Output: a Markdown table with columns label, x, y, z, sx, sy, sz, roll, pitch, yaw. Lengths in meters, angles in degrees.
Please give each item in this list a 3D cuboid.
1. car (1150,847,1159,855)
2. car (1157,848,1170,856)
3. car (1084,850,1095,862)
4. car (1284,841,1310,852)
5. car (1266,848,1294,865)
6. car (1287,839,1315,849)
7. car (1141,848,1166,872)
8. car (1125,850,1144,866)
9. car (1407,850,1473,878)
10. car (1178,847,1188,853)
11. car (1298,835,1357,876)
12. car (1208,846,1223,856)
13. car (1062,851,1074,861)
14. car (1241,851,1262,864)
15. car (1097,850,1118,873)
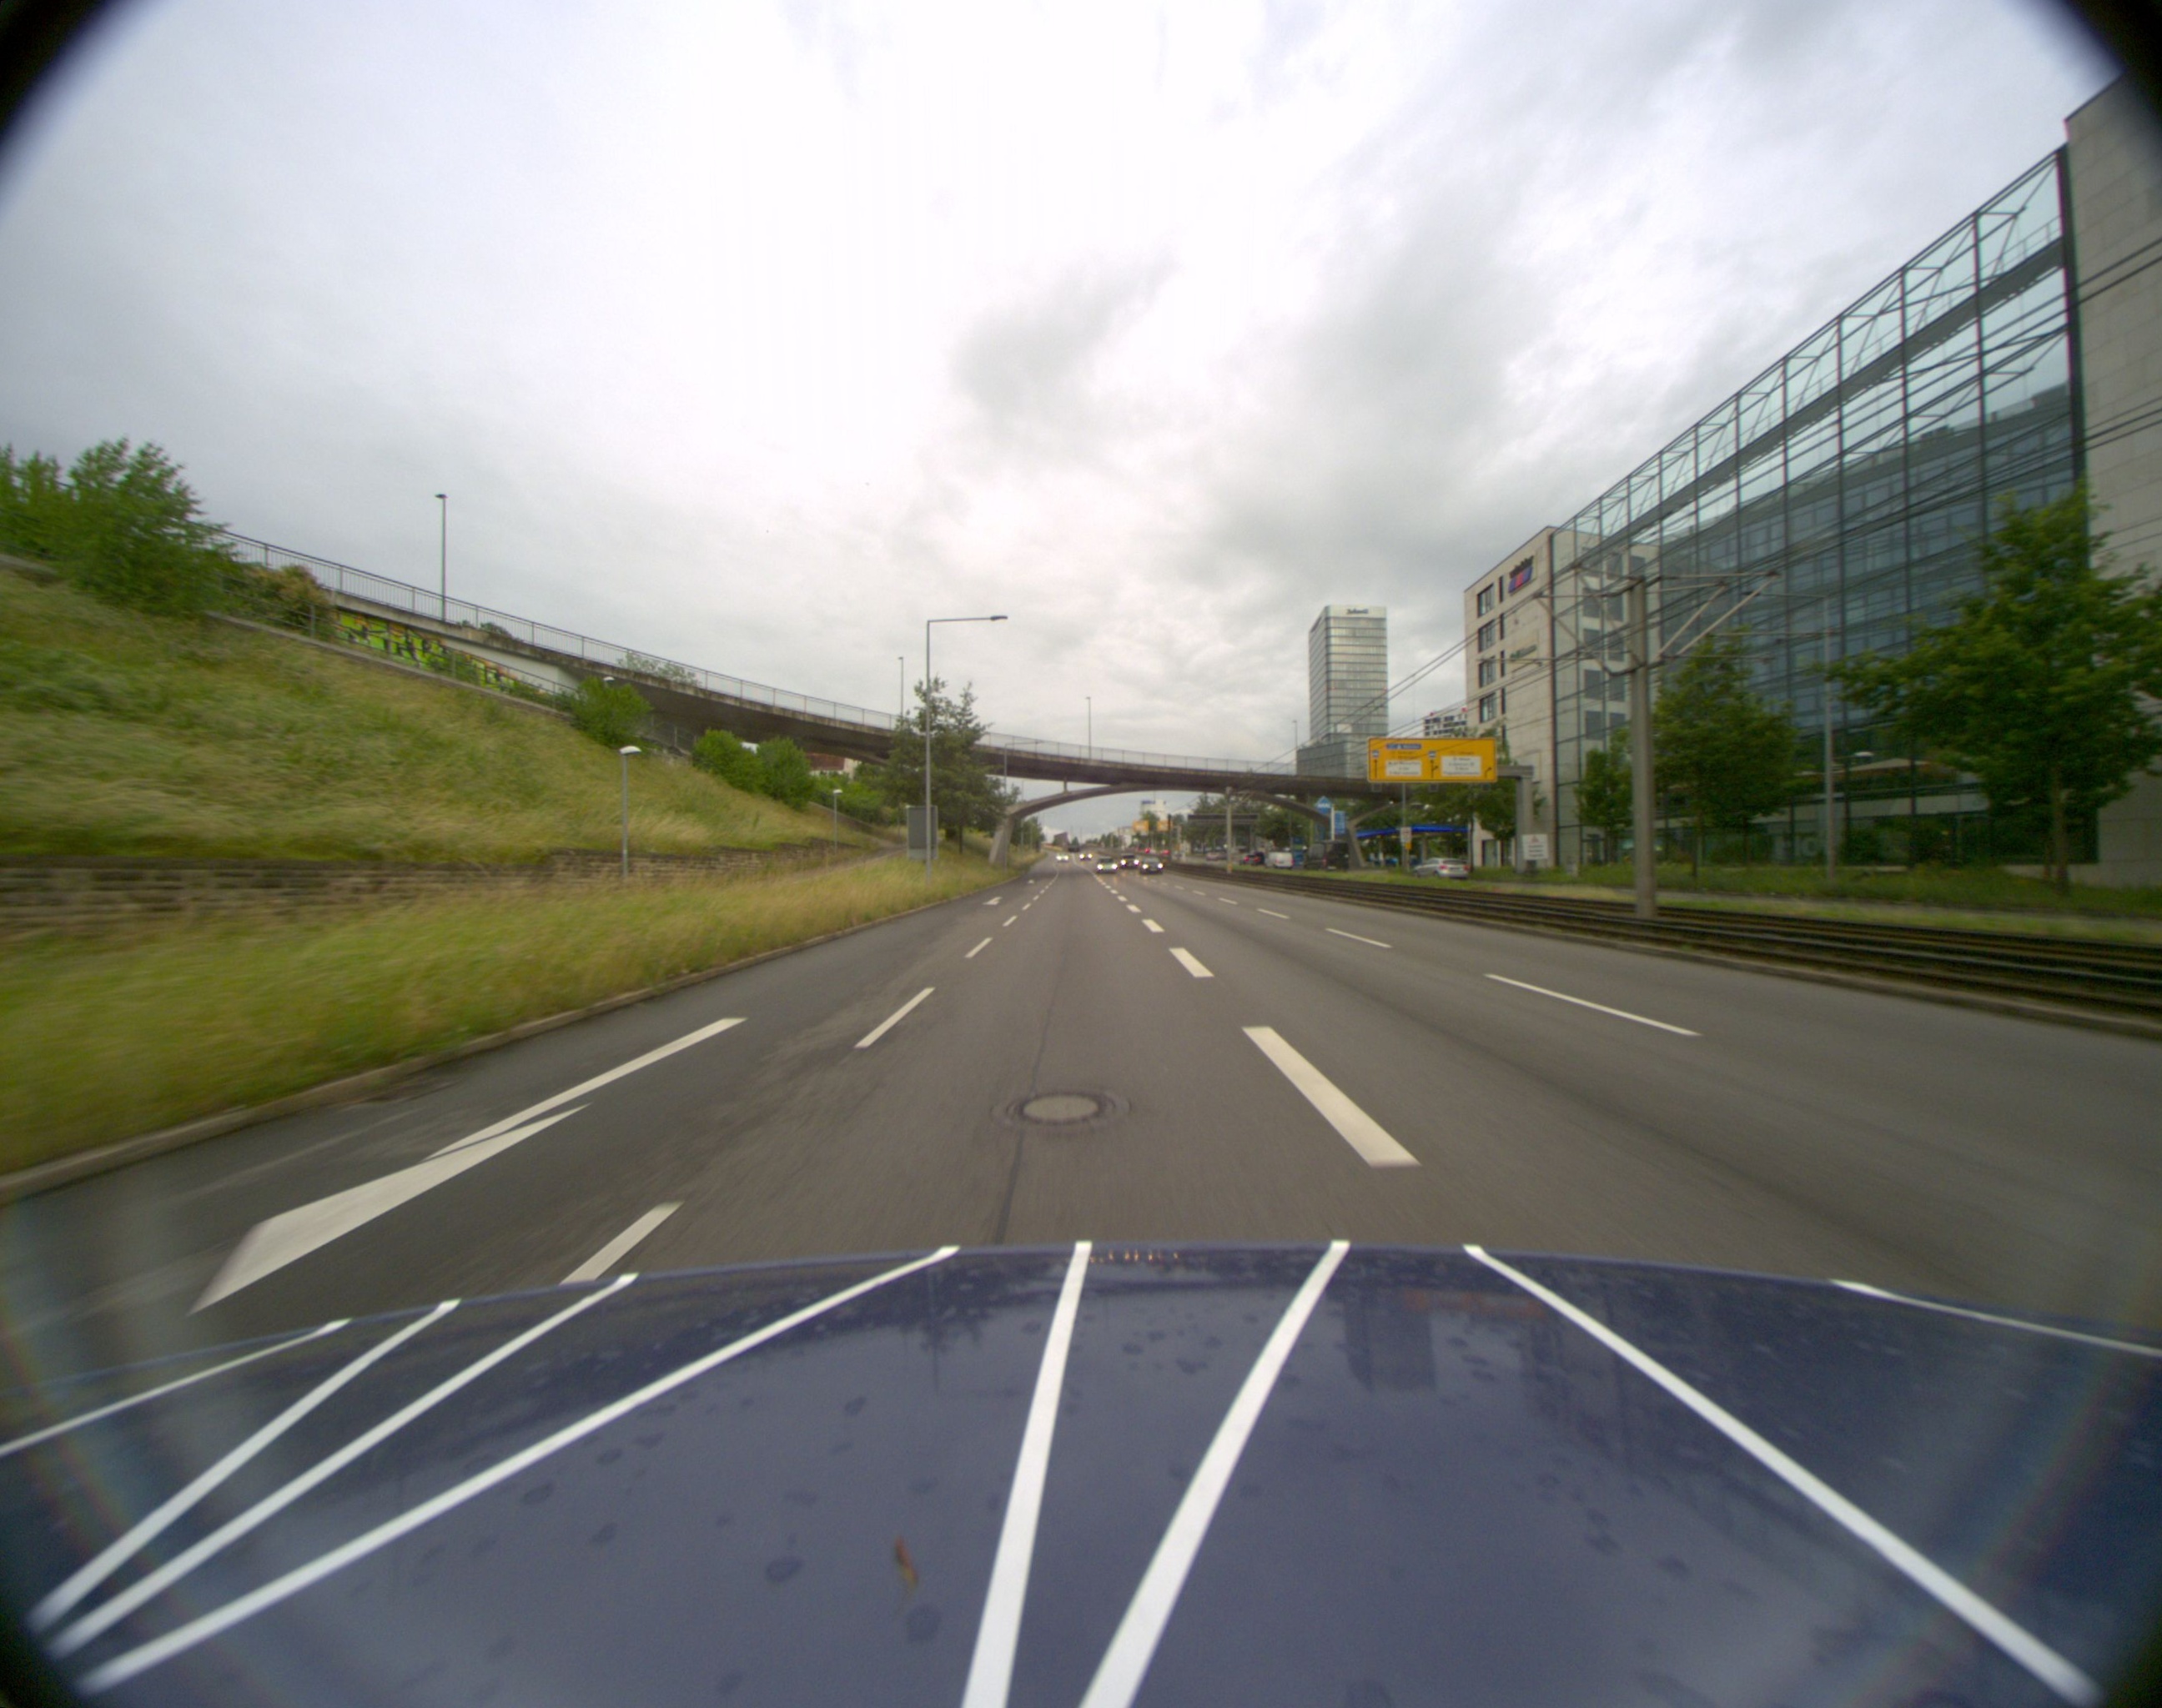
| label | x | y | z | sx | sy | sz | roll | pitch | yaw |
| --- | --- | --- | --- | --- | --- | --- | --- | --- | --- |
| car | 17.297 | -0.702 | 178.831 | 1.768 | 1.588 | 4.791 | -2 | 0 | 1 |
| car | 16.846 | -0.456 | 154.932 | 1.815 | 1.524 | 4.868 | -2 | 0 | -2 |
| car | 1.441 | 0.364 | 134.384 | 1.794 | 1.858 | 4.376 | -2 | 2 | 2 |
| car | 37.899 | -1.397 | 133.374 | 4.196 | 1.762 | 1.885 | -2 | 2 | 3 |
| car | 21.336 | 0.252 | 81.650 | 1.942 | 1.751 | 5.063 | -2 | 0 | 3 |
| car | 38.094 | -1.725 | 131.485 | 4.363 | 1.495 | 1.885 | -2 | 2 | 3 |
| car | 6.206 | 0.505 | 65.458 | 1.794 | 1.858 | 4.376 | -2 | 2 | 2 |
| car | 5.785 | 0.401 | 82.560 | 1.794 | 1.536 | 4.376 | -2 | 2 | 2 |
| car | 21.850 | 0.568 | 46.433 | 1.764 | 1.524 | 4.817 | -2 | 0 | 1 |
| car | 24.527 | -0.933 | 182.976 | 1.925 | 1.488 | 4.656 | 2 | 0 | 1 |
| car | 18.465 | 0.097 | 57.291 | 2.390 | 2.801 | 5.610 | -2 | 1 | -1 |
| car | 23.409 | -0.533 | 132.485 | 1.814 | 1.524 | 4.275 | -2 | 0 | 2 |
| car | -2.235 | 0.328 | 129.321 | 1.794 | 1.622 | 4.376 | -2 | 2 | 2 |
| car | 22.344 | 0.402 | 99.582 | 1.814 | 1.597 | 4.491 | -2 | 0 | 1 |
| car | 2.483 | 0.669 | 71.247 | 1.794 | 1.858 | 4.376 | -2 | 2 | 2 |
